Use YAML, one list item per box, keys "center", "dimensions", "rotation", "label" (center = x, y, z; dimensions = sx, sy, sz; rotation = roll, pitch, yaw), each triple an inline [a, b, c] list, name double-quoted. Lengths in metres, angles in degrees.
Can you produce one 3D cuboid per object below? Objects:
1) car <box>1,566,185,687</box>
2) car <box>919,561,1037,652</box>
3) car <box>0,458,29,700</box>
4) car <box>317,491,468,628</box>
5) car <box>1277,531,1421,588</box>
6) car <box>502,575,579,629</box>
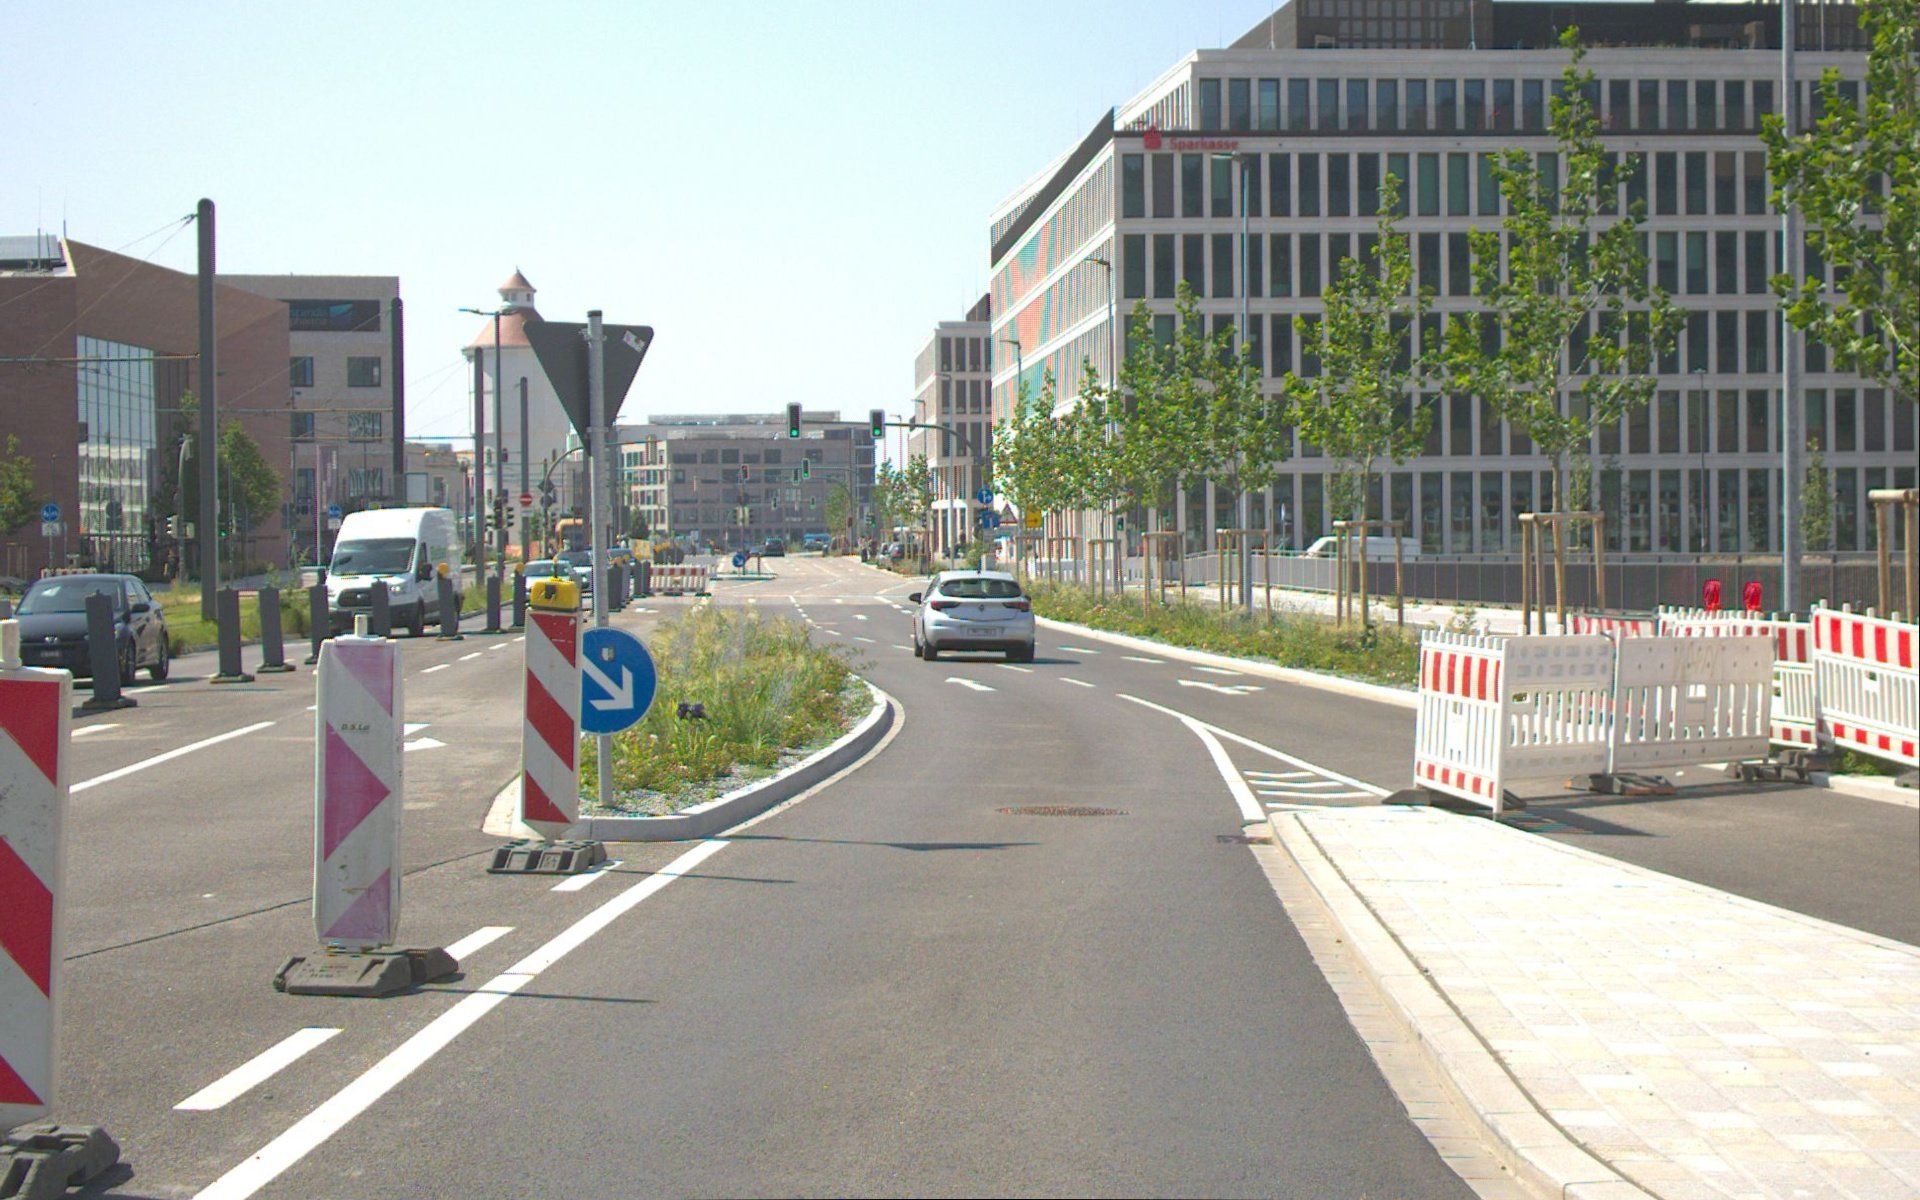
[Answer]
- center: [-11.510, 0.312, 45.873]
  dimensions: [1.545, 1.452, 4.193]
  rotation: [-2, 1, -3]
  label: "car"
- center: [0.267, 0.107, 55.800]
  dimensions: [1.771, 1.390, 3.532]
  rotation: [1, 0, -2]
  label: "car"
- center: [-11.145, -0.163, 34.445]
  dimensions: [2.030, 2.570, 6.195]
  rotation: [-3, 1, -2]
  label: "car"
- center: [-12.063, -0.876, 73.439]
  dimensions: [2.077, 2.730, 5.986]
  rotation: [-2, 1, 1]
  label: "car"
- center: [16.782, -1.769, 148.559]
  dimensions: [5.836, 2.262, 2.147]
  rotation: [2, 1, -3]
  label: "car"
- center: [-12.018, 0.041, 98.705]
  dimensions: [1.673, 1.438, 4.469]
  rotation: [-2, 1, -1]
  label: "car"
